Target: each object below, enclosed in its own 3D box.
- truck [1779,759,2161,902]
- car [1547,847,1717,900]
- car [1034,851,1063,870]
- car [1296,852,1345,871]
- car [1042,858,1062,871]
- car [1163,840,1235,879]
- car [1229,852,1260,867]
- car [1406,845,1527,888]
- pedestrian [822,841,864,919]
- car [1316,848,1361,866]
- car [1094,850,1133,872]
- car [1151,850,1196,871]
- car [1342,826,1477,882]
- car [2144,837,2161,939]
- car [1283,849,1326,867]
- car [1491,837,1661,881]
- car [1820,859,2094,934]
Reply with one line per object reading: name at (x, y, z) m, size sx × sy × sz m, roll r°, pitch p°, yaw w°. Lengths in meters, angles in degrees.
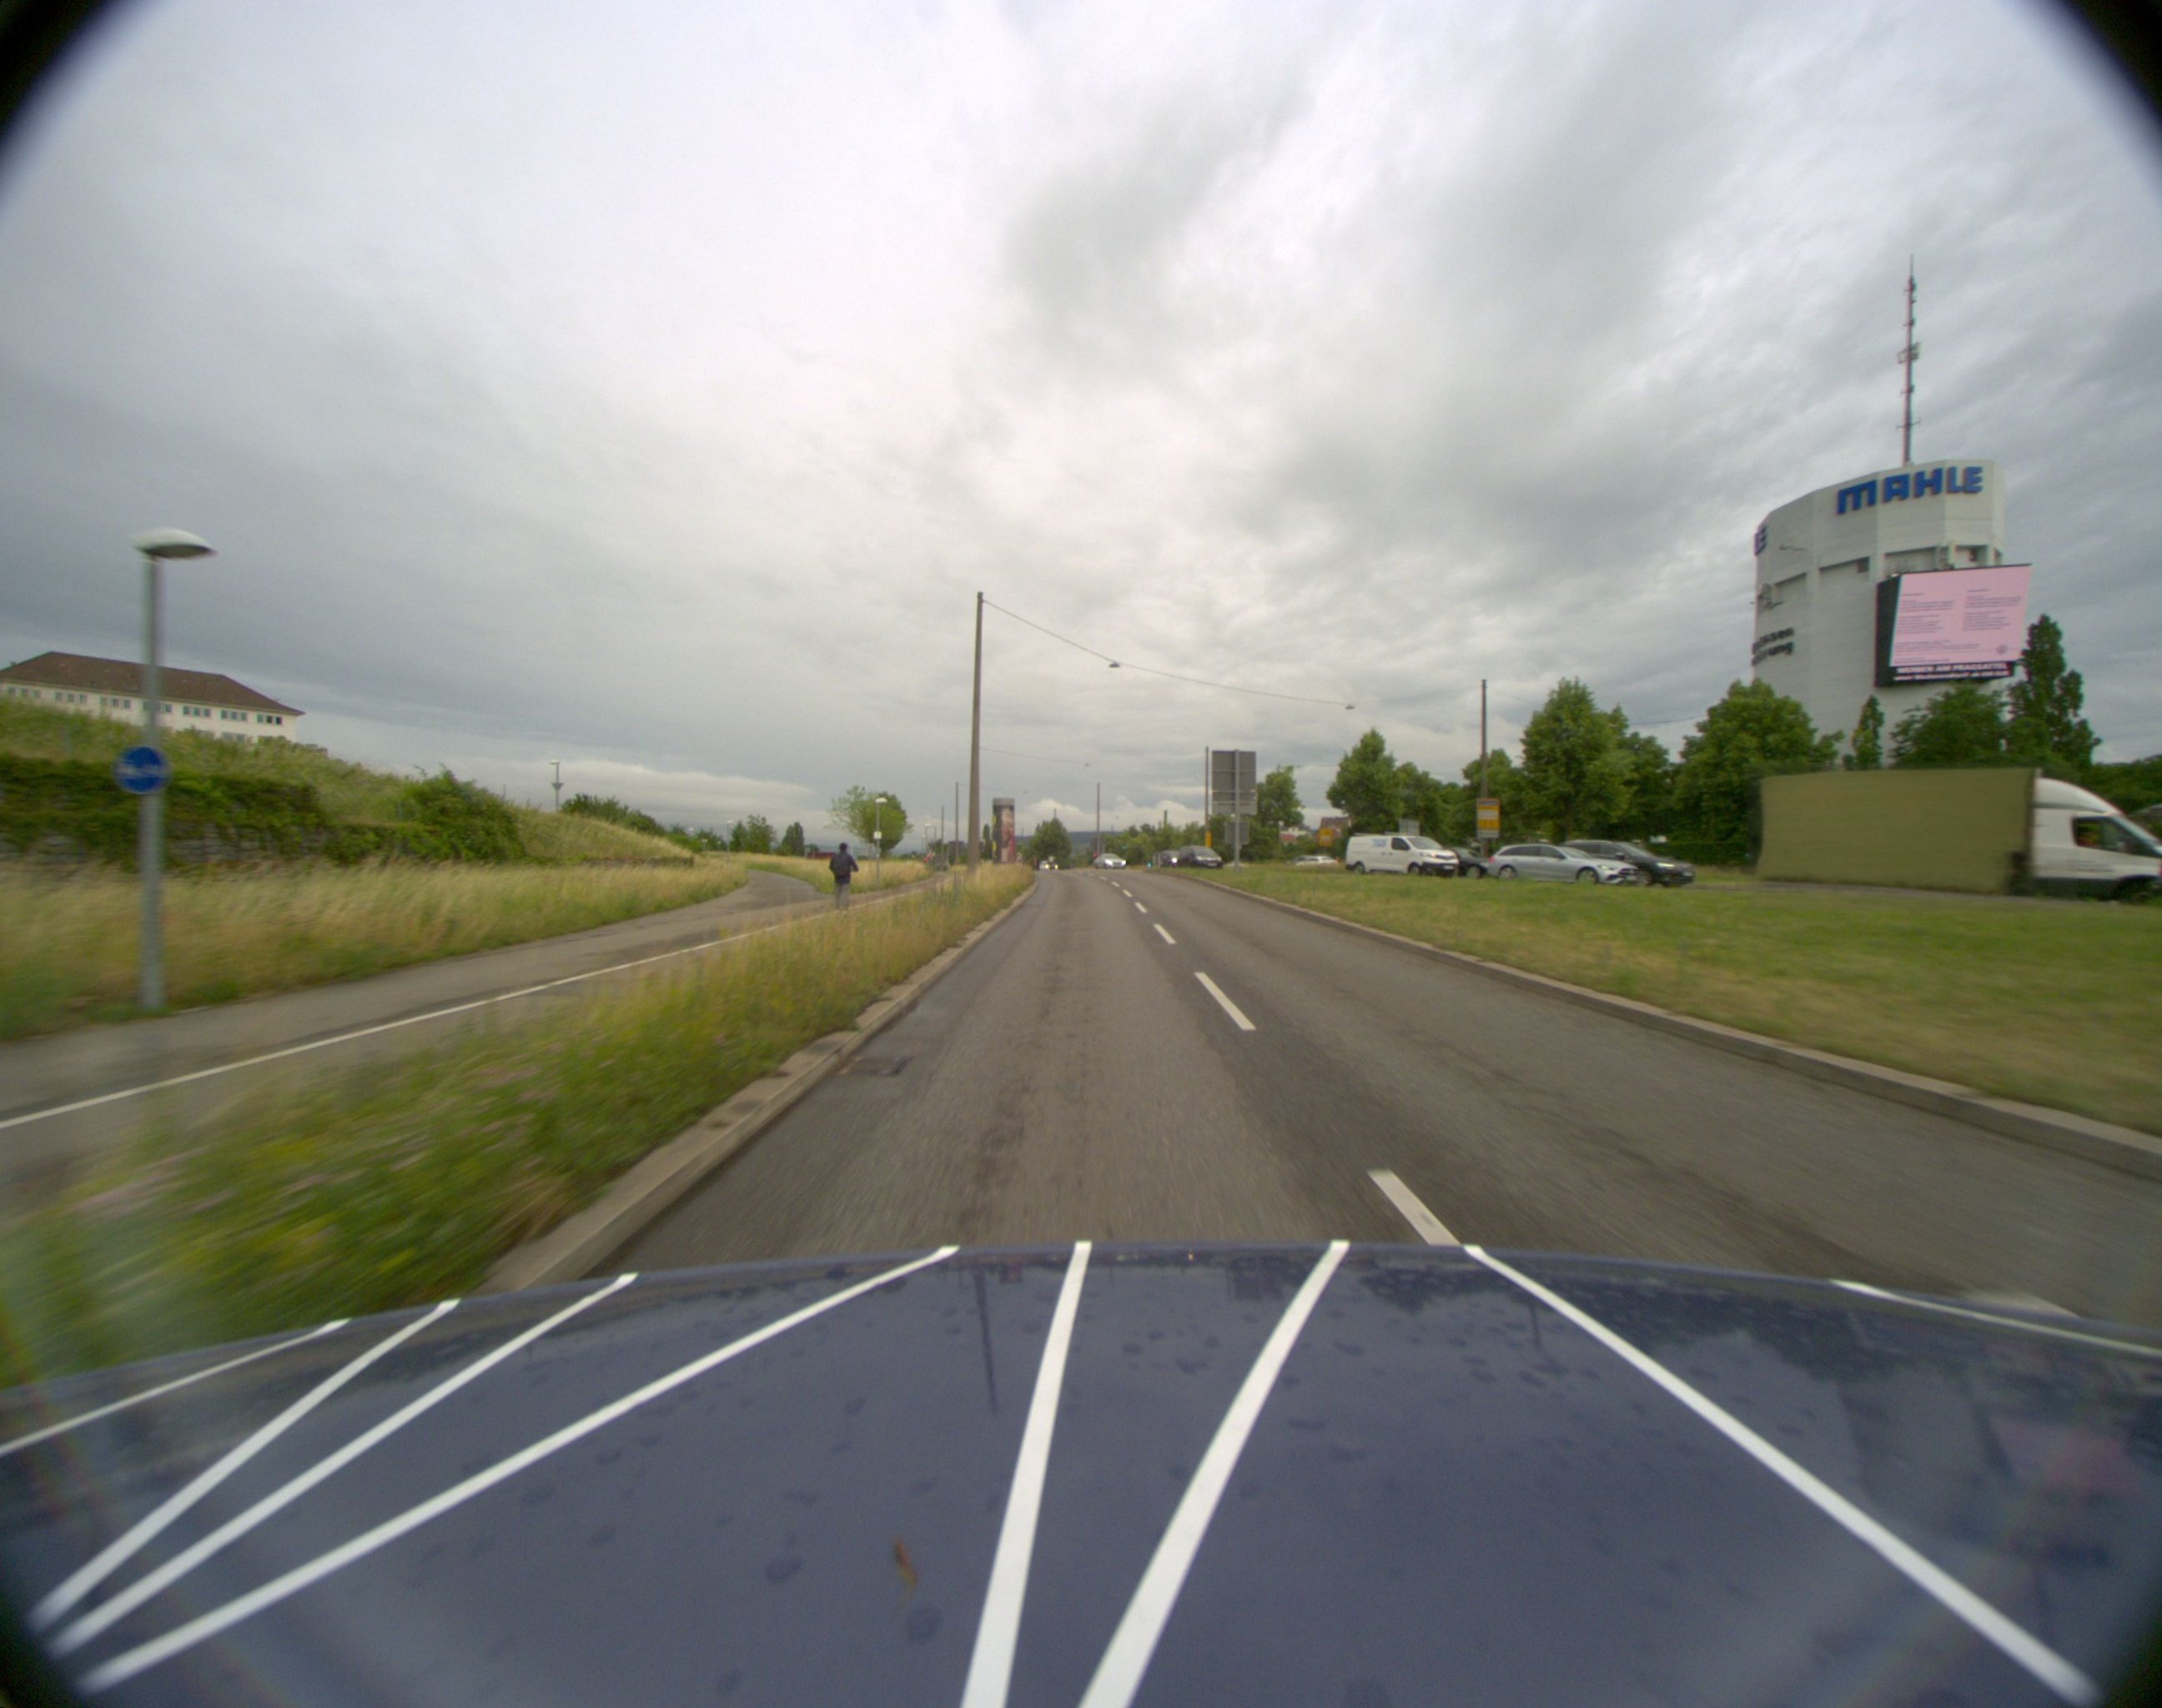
truck at (20.834, -0.479, 17.951) m, size 2.134 × 2.818 × 6.017 m, roll -3°, pitch 1°, yaw -31°
car at (19.521, 0.643, 27.181) m, size 2.002 × 1.673 × 4.512 m, roll -3°, pitch 1°, yaw -23°
car at (-3.434, 0.629, 79.080) m, size 2.001 × 1.790 × 5.163 m, roll -2°, pitch 1°, yaw -14°
car at (21.751, 0.678, 69.179) m, size 2.003 × 1.652 × 3.991 m, roll -3°, pitch 1°, yaw -27°
car at (-4.289, 1.457, 111.540) m, size 2.001 × 1.772 × 3.994 m, roll -2°, pitch 1°, yaw -16°
car at (7.048, 0.318, 45.944) m, size 2.002 × 2.168 × 5.161 m, roll -3°, pitch 1°, yaw -20°
car at (21.269, 0.726, 98.988) m, size 2.002 × 1.772 × 3.992 m, roll -3°, pitch 1°, yaw -22°
car at (16.815, 0.531, 33.424) m, size 2.002 × 1.673 × 4.512 m, roll -3°, pitch 1°, yaw -23°
pedestrian at (-5.428, 0.576, 17.371) m, size 0.801 × 1.713 × 0.988 m, roll -3°, pitch 1°, yaw -15°
car at (25.740, 0.284, 76.062) m, size 2.002 × 1.652 × 3.992 m, roll -3°, pitch 1°, yaw -24°
car at (2.868, 0.615, 68.499) m, size 2.001 × 1.790 × 5.163 m, roll -2°, pitch 1°, yaw -14°
car at (7.782, 0.511, 64.415) m, size 2.001 × 1.673 × 4.513 m, roll -3°, pitch 1°, yaw -19°
car at (14.080, -0.020, 32.986) m, size 2.376 × 2.168 × 5.299 m, roll -3°, pitch 1°, yaw -20°
car at (20.089, 0.537, 11.469) m, size 2.003 × 1.673 × 4.510 m, roll -3°, pitch 1°, yaw -29°
car at (22.420, 0.409, 76.302) m, size 2.002 × 1.652 × 3.992 m, roll -3°, pitch 1°, yaw -24°
car at (16.799, 0.160, 26.071) m, size 2.002 × 1.303 × 4.522 m, roll -3°, pitch 1°, yaw -23°
car at (23.235, 1.032, 20.383) m, size 2.003 × 1.673 × 4.510 m, roll -3°, pitch 1°, yaw -30°
